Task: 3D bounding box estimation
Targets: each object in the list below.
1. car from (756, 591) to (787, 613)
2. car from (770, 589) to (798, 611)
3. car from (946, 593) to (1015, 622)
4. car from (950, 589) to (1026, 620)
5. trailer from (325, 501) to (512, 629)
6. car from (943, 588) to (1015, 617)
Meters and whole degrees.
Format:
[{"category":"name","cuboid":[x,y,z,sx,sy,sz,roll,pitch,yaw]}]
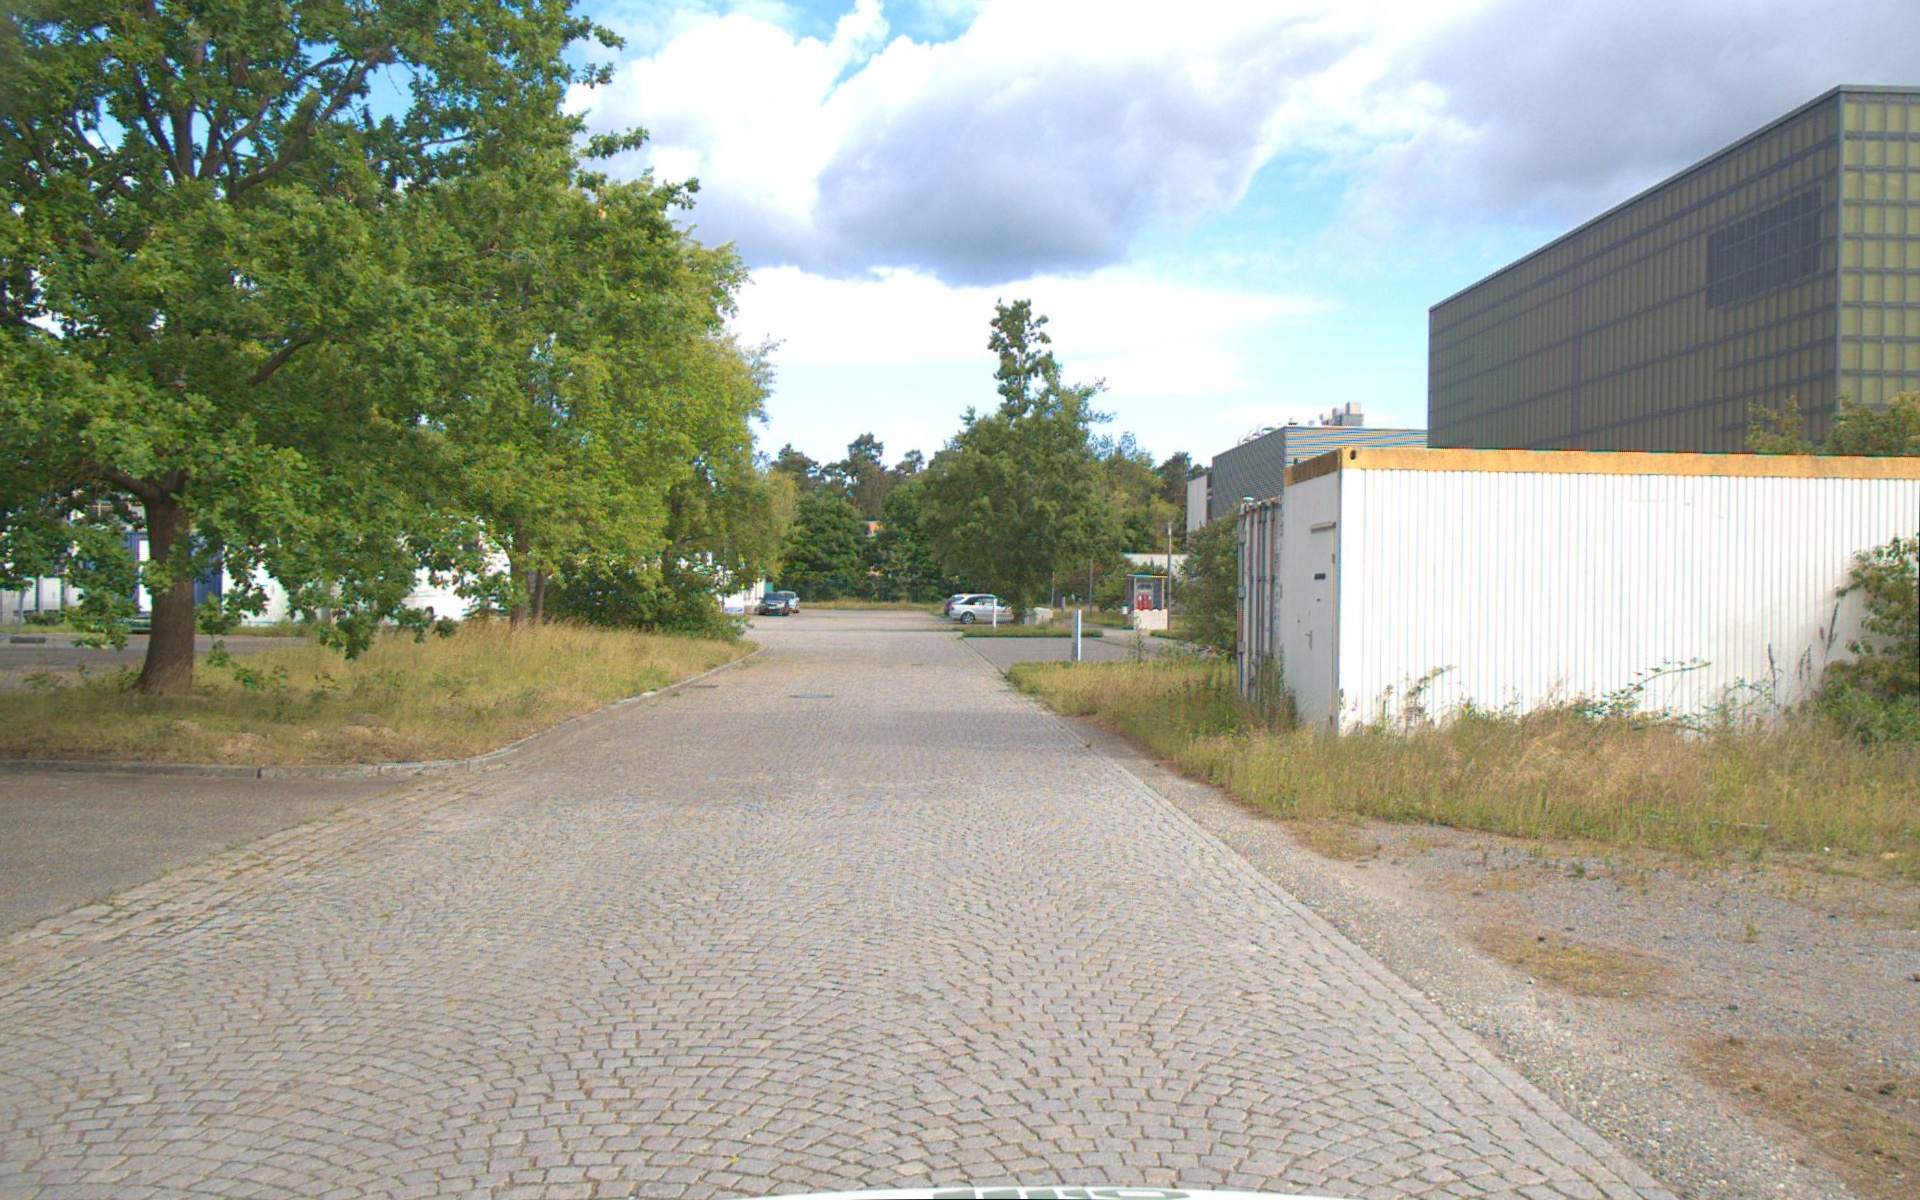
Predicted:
[{"category":"car","cuboid":[-11.950,0.123,104.986,1.614,1.393,3.996,1,0,-2]},{"category":"car","cuboid":[-12.242,-0.009,115.321,1.614,1.484,3.996,1,0,-2]},{"category":"car","cuboid":[1.024,0.387,83.976,3.451,1.386,1.622,-1,0,-2]},{"category":"car","cuboid":[1.450,0.226,86.690,3.904,1.473,1.652,-1,0,-2]},{"category":"trailer","cuboid":[-16.977,-1.034,52.731,2.572,3.661,10.177,1,0,0]},{"category":"car","cuboid":[1.017,0.150,91.806,3.904,1.501,1.652,-2,0,-2]}]
